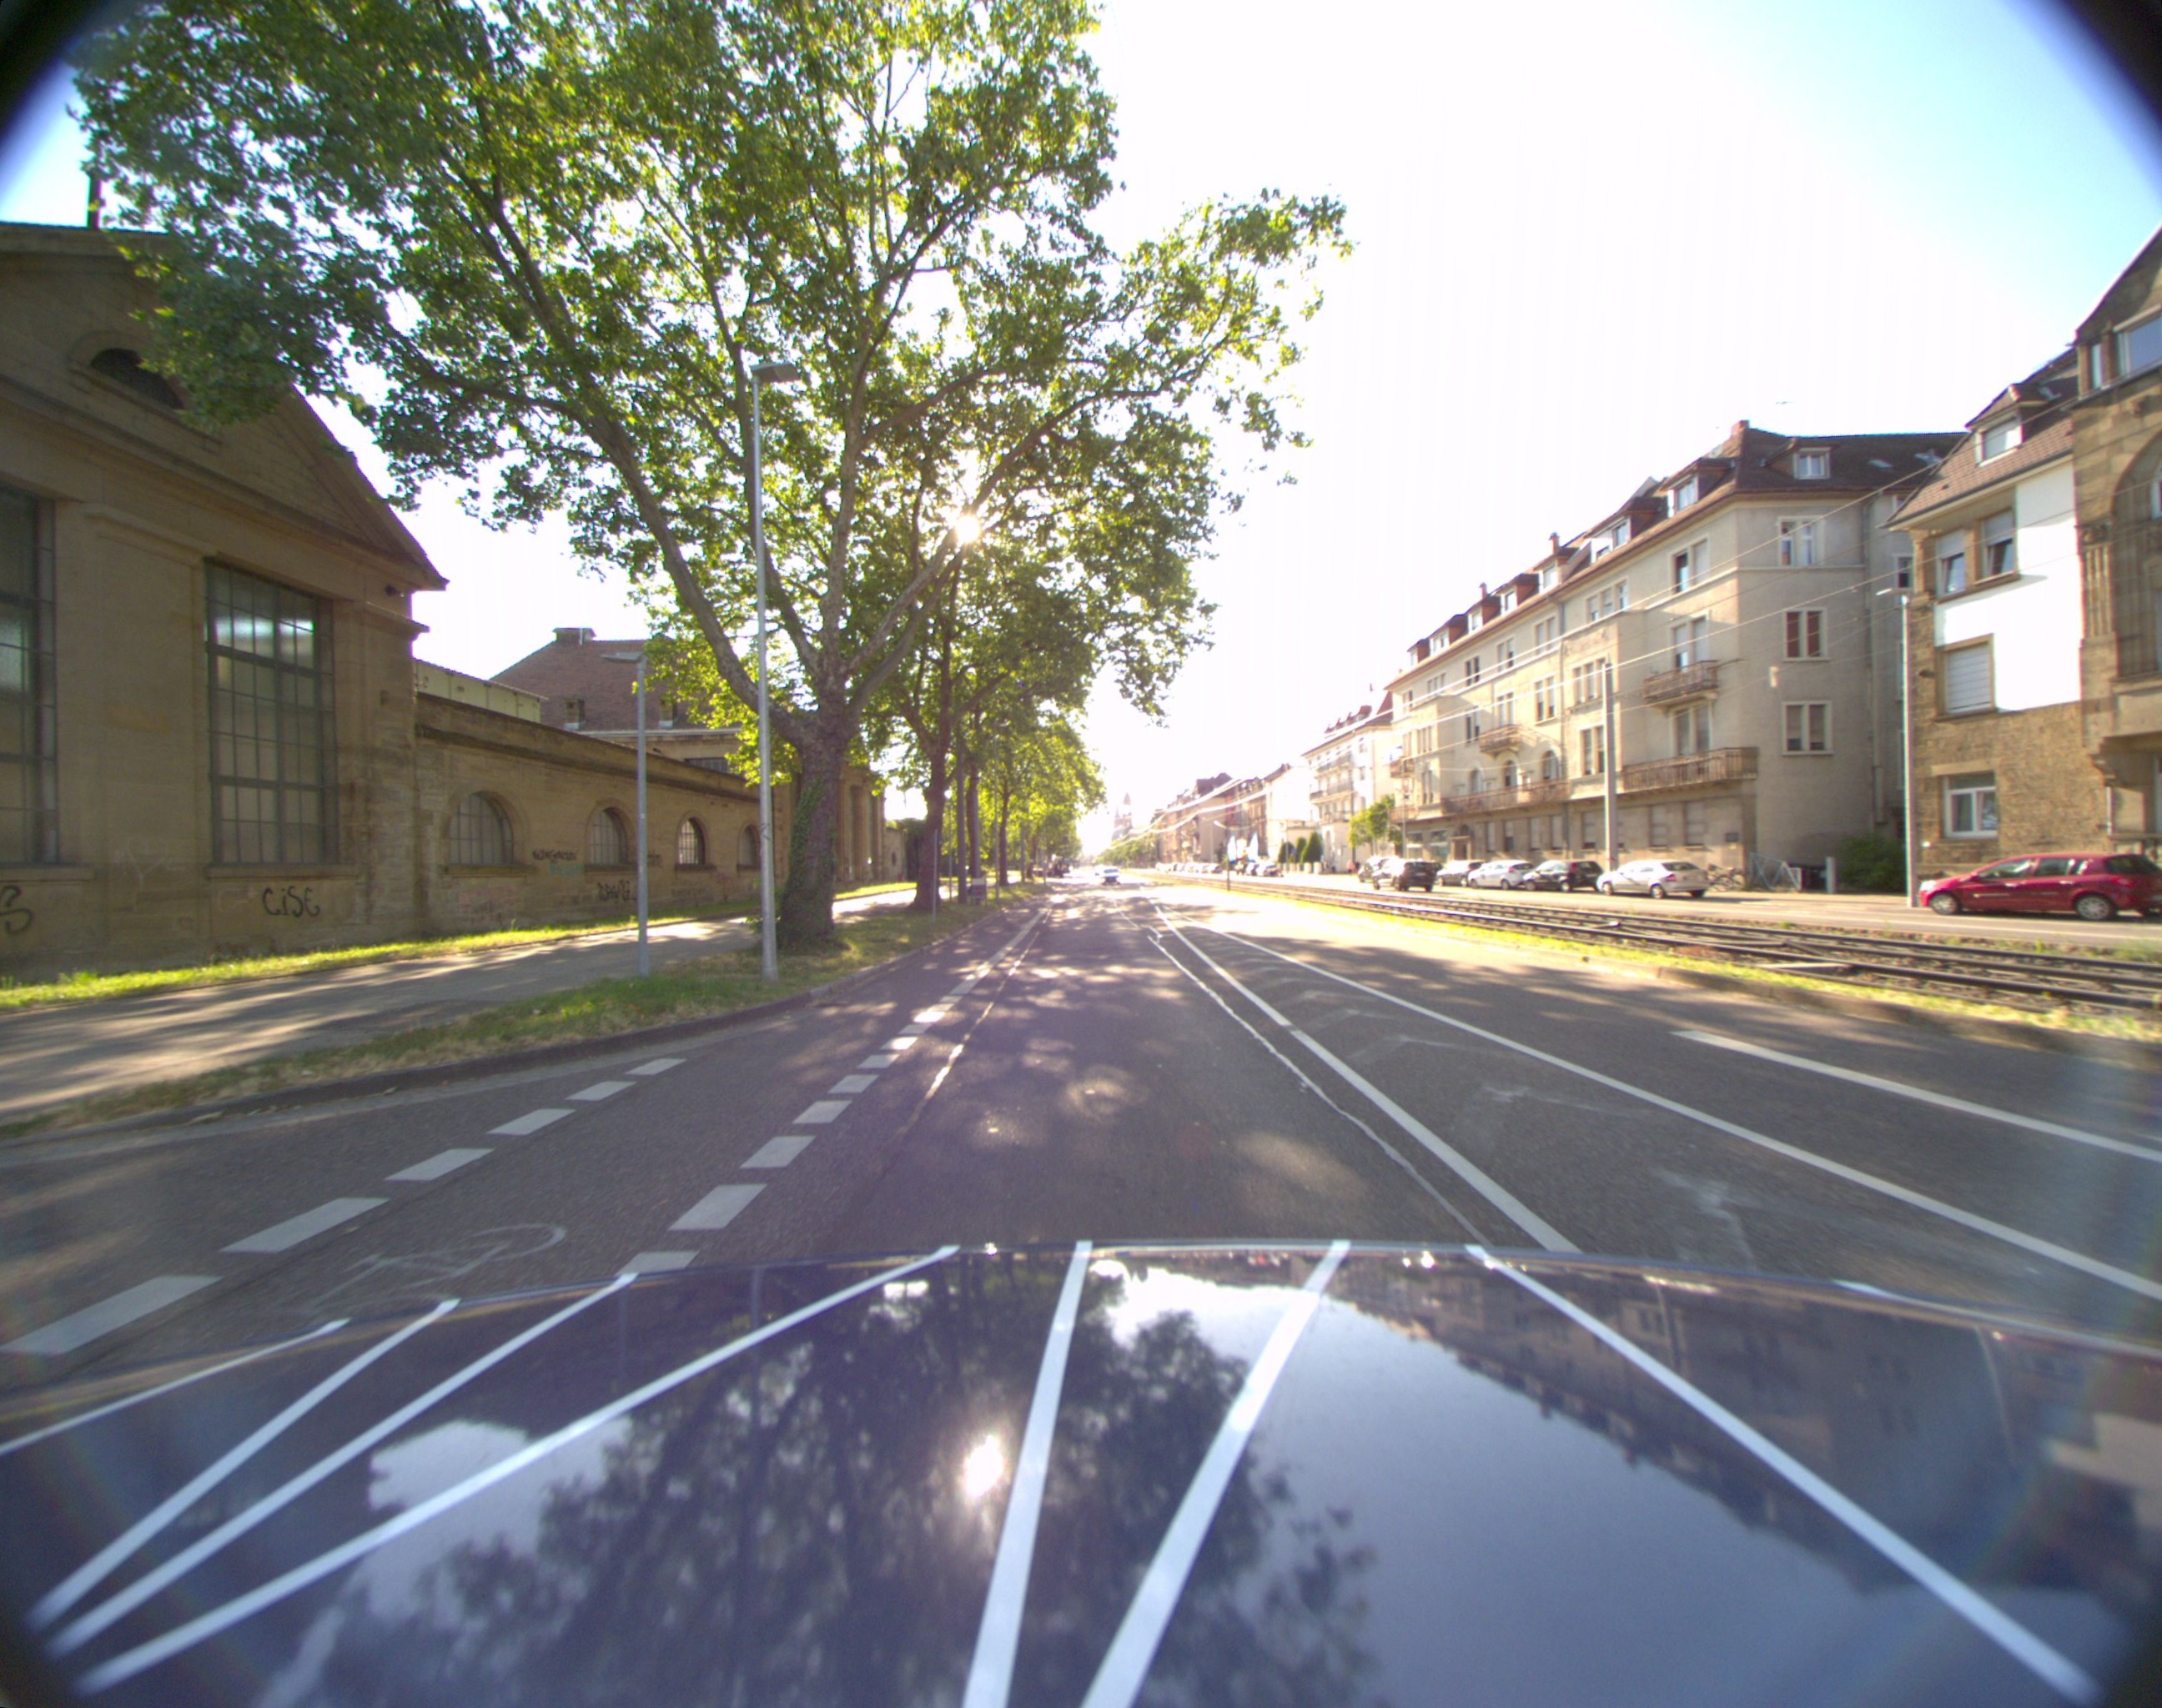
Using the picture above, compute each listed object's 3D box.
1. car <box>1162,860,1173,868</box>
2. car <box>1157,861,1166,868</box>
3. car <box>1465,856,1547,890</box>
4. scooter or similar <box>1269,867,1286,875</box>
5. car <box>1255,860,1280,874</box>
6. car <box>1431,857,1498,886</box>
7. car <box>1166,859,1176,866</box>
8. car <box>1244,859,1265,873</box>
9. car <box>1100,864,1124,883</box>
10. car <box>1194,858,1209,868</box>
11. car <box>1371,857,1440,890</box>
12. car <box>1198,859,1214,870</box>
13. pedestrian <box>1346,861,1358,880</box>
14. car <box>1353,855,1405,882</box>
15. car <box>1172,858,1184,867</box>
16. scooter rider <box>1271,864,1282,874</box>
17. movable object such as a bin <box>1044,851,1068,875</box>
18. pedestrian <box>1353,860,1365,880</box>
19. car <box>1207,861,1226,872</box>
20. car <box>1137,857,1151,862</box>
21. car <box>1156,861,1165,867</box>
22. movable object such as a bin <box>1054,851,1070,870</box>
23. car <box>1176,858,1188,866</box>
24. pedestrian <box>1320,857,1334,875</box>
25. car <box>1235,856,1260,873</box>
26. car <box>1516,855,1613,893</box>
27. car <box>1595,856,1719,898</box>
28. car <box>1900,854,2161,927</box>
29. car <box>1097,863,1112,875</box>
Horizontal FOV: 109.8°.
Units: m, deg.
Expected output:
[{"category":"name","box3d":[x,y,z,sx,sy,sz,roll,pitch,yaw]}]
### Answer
[{"category":"car","box3d":[20.389,2.330,179.095,1.799,1.796,3.999,-3,0,-2]},{"category":"car","box3d":[20.222,2.639,190.479,1.664,1.437,3.765,-3,0,0]},{"category":"car","box3d":[21.869,0.965,39.301,1.640,1.460,3.982,-7,0,-4]},{"category":"scooter or similar","box3d":[20.816,1.801,80.622,1.565,0.766,0.810,-1,-1,31]},{"category":"car","box3d":[21.462,1.481,87.487,1.799,1.501,4.000,-3,0,1]},{"category":"car","box3d":[22.221,0.997,44.174,1.639,1.460,4.159,-4,0,-1]},{"category":"car","box3d":[20.086,1.919,169.661,1.664,1.437,3.981,-3,0,0]},{"category":"car","box3d":[21.191,1.465,93.041,1.639,1.498,4.159,-3,0,1]},{"category":"car","box3d":[2.677,1.673,65.839,1.799,1.501,4.000,-3,-1,-1]},{"category":"car","box3d":[21.207,1.578,133.768,1.925,1.551,4.843,-3,0,2]},{"category":"car","box3d":[16.516,0.948,38.914,1.639,1.592,4.158,0,-1,-2]},{"category":"car","box3d":[21.061,1.798,127.979,1.925,1.684,4.843,-3,-1,2]},{"category":"pedestrian","box3d":[24.298,1.454,68.177,0.591,1.687,0.857,-3,1,-4]},{"category":"car","box3d":[21.752,1.072,55.686,1.867,1.775,4.401,-3,-1,-1]},{"category":"car","box3d":[20.905,1.804,164.330,1.664,1.796,4.728,-3,0,-2]},{"category":"scooter rider","box3d":[20.776,1.626,80.641,0.976,1.082,0.810,-1,0,31]},{"category":"movable object such as a bin","box3d":[-3.338,1.221,102.393,2.751,3.127,7.220,2,-1,1]},{"category":"pedestrian","box3d":[24.954,1.418,68.173,0.591,1.687,0.857,-3,1,-4]},{"category":"car","box3d":[21.136,1.883,118.653,1.926,1.452,4.841,-6,-1,-2]},{"category":"car","box3d":[20.073,1.691,240.390,3.991,1.501,1.802,-3,1,21]},{"category":"car","box3d":[20.364,2.544,195.165,1.798,1.633,4.631,-3,0,2]},{"category":"movable object such as a bin","box3d":[-4.088,1.438,161.869,3.347,3.953,7.597,2,-1,-2]},{"category":"car","box3d":[20.923,1.675,157.728,1.925,1.529,4.627,-2,0,0]},{"category":"pedestrian","box3d":[26.005,1.253,80.422,0.995,1.767,0.934,-3,1,-15]},{"category":"car","box3d":[21.732,1.327,99.146,2.082,1.998,5.592,-3,0,1]},{"category":"car","box3d":[22.208,0.888,35.098,1.639,1.460,4.158,-7,0,-2]},{"category":"car","box3d":[22.355,0.876,29.709,1.639,1.460,4.159,-2,-1,0]},{"category":"car","box3d":[22.462,0.783,17.854,1.839,1.383,4.034,-4,0,-5]},{"category":"car","box3d":[3.284,2.029,105.040,1.799,1.501,4.000,-3,-1,-1]}]
